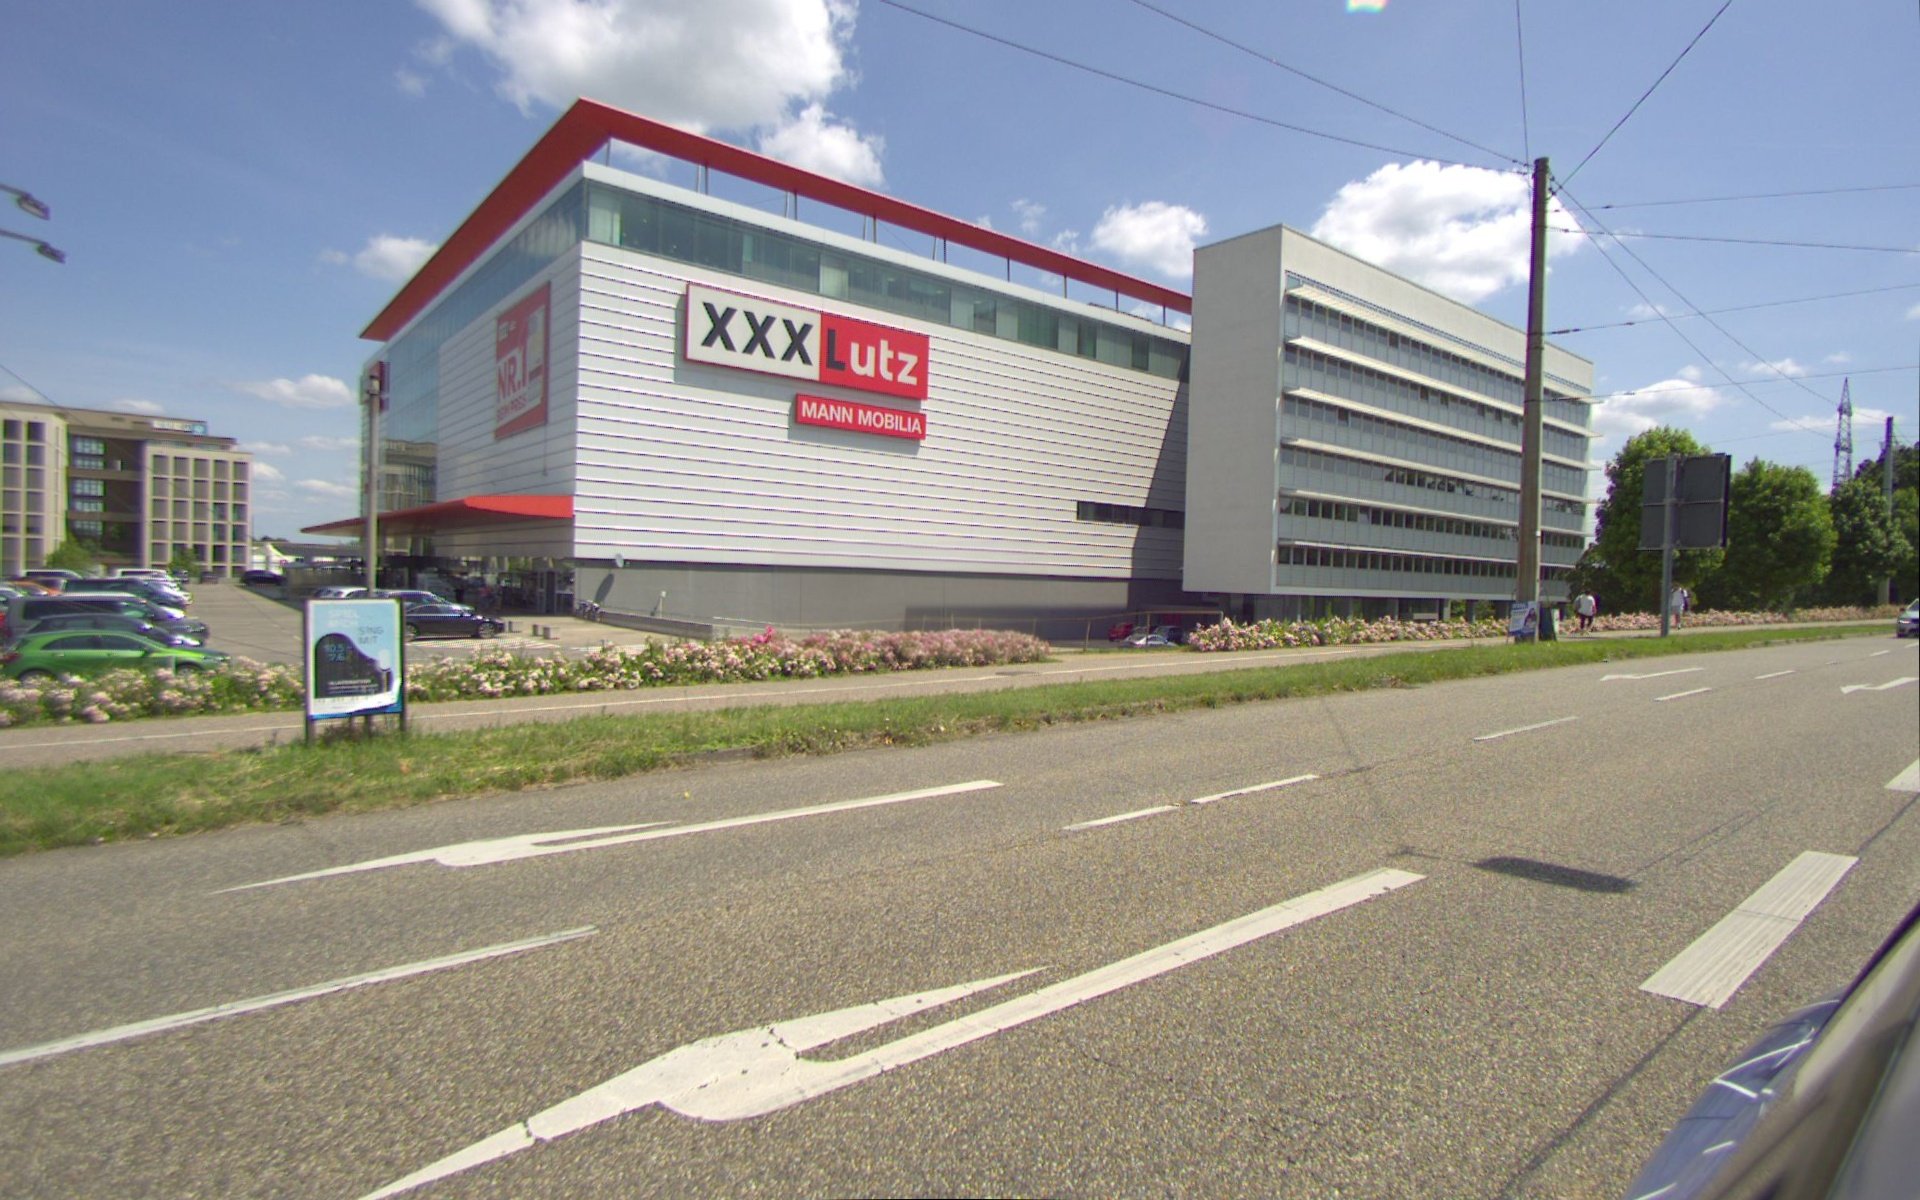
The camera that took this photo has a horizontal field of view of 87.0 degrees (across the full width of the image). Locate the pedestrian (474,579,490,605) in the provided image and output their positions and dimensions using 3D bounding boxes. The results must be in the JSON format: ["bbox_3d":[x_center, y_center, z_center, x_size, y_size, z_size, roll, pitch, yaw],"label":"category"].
[{"bbox_3d":[-30.059,-0.509,63.651,0.723,1.577,0.741,0,0,-42],"label":"pedestrian"}]

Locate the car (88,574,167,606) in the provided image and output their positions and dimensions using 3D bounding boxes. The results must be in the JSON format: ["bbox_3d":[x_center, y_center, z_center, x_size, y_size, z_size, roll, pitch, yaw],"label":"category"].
[{"bbox_3d":[-54.805,-0.672,66.659,3.930,2.039,1.997,-1,1,-41],"label":"car"}]

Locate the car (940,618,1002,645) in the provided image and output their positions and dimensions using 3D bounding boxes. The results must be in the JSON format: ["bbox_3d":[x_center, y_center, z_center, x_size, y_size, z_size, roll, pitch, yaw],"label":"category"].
[{"bbox_3d":[0.785,2.102,68.857,3.930,1.632,1.997,-1,1,-41],"label":"car"}]

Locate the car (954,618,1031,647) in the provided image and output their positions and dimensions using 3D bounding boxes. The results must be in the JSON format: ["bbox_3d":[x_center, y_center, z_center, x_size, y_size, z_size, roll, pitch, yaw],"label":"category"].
[{"bbox_3d":[2.172,2.089,66.331,5.057,1.632,1.997,-1,1,-41],"label":"car"}]

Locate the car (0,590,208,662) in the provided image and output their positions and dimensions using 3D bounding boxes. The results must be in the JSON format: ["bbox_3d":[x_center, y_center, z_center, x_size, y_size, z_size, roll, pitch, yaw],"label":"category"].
[{"bbox_3d":[-26.448,0.710,30.946,5.437,2.039,1.997,-1,0,-41],"label":"car"}]

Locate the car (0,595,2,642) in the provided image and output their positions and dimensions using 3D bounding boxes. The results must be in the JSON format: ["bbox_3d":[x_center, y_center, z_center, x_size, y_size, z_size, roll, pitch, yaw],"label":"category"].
[{"bbox_3d":[-35.305,0.691,33.638,4.913,1.630,1.997,-1,2,-41],"label":"car"}]

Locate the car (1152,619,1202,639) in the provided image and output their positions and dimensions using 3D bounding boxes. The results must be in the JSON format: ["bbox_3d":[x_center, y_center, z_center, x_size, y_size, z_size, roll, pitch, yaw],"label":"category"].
[{"bbox_3d":[16.103,2.150,74.984,3.930,1.338,1.607,-1,1,-41],"label":"car"}]

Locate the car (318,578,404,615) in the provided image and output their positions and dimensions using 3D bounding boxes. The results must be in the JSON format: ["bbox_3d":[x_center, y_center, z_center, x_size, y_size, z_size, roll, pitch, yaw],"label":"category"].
[{"bbox_3d":[-33.941,-0.233,57.378,3.930,2.039,1.997,-1,1,-41],"label":"car"}]

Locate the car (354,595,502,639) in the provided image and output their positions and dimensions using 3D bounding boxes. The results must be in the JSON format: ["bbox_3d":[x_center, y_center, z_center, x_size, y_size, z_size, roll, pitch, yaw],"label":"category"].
[{"bbox_3d":[-21.094,0.621,40.258,4.913,1.631,1.997,-1,1,-41],"label":"car"}]

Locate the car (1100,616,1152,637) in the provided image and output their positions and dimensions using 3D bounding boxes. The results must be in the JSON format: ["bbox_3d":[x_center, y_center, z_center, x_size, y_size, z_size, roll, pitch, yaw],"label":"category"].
[{"bbox_3d":[12.984,2.030,78.917,3.930,1.465,1.997,-1,1,-41],"label":"car"}]

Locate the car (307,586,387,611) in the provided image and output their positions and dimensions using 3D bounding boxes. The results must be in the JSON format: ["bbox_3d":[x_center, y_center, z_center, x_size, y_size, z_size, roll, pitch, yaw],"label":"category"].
[{"bbox_3d":[-37.601,-0.118,62.074,3.930,1.505,1.997,0,1,-41],"label":"car"}]

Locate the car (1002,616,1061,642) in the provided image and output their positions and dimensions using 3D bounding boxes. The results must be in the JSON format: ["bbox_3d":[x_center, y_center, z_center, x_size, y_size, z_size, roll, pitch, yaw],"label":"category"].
[{"bbox_3d":[5.047,2.031,71.445,3.930,1.632,1.997,-1,1,-41],"label":"car"}]

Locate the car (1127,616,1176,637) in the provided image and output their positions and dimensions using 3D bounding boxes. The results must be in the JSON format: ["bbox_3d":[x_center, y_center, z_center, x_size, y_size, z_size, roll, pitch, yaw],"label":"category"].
[{"bbox_3d":[14.577,1.982,76.885,3.930,1.403,1.646,-1,1,-41],"label":"car"}]

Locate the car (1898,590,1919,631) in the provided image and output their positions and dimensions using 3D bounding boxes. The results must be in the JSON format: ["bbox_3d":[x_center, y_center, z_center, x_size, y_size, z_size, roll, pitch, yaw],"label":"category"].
[{"bbox_3d":[34.029,0.335,34.977,3.929,1.355,1.895,-1,1,-40],"label":"car"}]

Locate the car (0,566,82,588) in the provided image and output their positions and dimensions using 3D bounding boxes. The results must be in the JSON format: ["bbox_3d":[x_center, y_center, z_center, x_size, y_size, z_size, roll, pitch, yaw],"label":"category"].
[{"bbox_3d":[-72.271,-1.784,79.486,4.913,1.631,1.997,-1,1,-41],"label":"car"}]

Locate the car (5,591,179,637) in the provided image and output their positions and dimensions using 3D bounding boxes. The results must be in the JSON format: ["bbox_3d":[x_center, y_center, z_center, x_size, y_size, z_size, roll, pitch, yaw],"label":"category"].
[{"bbox_3d":[-32.913,0.484,38.557,4.913,1.631,1.997,-1,1,-41],"label":"car"}]

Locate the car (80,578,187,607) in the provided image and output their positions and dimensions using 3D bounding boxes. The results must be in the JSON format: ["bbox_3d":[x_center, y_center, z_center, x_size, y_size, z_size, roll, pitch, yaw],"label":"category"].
[{"bbox_3d":[-49.346,-0.455,60.514,4.913,1.631,1.997,-1,1,-41],"label":"car"}]

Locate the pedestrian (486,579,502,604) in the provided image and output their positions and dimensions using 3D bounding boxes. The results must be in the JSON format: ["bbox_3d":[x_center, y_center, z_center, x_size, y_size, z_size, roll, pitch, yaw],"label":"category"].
[{"bbox_3d":[-29.179,-0.519,63.309,0.723,1.577,0.741,0,0,-42],"label":"pedestrian"}]

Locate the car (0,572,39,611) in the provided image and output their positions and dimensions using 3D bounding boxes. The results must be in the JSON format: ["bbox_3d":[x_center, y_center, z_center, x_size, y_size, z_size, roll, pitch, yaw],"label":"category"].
[{"bbox_3d":[-51.119,-0.452,53.200,3.930,2.039,1.997,-1,1,-41],"label":"car"}]

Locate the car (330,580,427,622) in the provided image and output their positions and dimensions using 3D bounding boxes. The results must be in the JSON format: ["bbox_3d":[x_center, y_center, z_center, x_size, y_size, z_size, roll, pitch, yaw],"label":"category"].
[{"bbox_3d":[-29.171,0.015,50.841,3.930,2.039,1.997,-1,1,-41],"label":"car"}]

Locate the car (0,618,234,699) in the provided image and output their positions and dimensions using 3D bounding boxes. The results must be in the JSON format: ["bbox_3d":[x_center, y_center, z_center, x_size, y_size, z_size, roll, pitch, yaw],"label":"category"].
[{"bbox_3d":[-19.974,1.319,24.105,4.227,1.514,1.998,-1,4,-41],"label":"car"}]

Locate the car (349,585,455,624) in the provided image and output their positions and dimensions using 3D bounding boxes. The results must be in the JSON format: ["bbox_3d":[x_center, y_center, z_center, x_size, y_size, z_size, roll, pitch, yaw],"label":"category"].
[{"bbox_3d":[-27.161,0.208,49.329,4.257,1.804,1.997,-1,-1,-41],"label":"car"}]

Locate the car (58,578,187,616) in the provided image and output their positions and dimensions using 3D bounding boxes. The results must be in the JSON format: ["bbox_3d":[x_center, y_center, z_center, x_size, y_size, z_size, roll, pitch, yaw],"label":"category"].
[{"bbox_3d":[-43.337,-0.188,52.450,5.094,1.888,1.996,-1,1,-43],"label":"car"}]

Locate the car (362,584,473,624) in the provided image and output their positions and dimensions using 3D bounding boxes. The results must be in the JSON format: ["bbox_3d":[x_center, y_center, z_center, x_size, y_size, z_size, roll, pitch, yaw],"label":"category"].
[{"bbox_3d":[-25.196,0.177,47.091,4.257,1.804,1.997,-1,-1,-41],"label":"car"}]

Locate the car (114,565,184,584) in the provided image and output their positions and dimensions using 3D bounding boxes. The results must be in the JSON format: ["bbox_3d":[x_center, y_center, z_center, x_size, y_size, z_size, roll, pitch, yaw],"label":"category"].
[{"bbox_3d":[-73.375,-2.295,91.639,4.913,1.631,1.997,-1,1,-41],"label":"car"}]

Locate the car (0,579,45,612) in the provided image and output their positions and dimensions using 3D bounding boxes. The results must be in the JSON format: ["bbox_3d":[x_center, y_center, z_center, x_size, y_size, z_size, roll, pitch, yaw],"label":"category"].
[{"bbox_3d":[-49.658,-0.232,51.187,4.913,1.631,1.997,-1,1,-41],"label":"car"}]

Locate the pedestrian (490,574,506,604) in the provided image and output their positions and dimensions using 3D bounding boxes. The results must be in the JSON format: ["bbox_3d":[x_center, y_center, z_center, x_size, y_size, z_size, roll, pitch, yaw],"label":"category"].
[{"bbox_3d":[-29.384,-0.700,64.390,0.723,1.892,0.741,0,0,-42],"label":"pedestrian"}]

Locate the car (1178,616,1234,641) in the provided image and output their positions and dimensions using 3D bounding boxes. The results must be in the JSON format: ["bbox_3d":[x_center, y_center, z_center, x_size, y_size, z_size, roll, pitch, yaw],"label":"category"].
[{"bbox_3d":[17.801,2.006,73.135,3.930,1.632,1.997,-1,1,-41],"label":"car"}]

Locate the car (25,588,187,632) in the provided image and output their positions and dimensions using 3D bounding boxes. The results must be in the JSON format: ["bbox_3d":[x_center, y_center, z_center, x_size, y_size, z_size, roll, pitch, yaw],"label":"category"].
[{"bbox_3d":[-34.421,0.370,40.955,4.913,1.671,1.997,-1,1,-41],"label":"car"}]

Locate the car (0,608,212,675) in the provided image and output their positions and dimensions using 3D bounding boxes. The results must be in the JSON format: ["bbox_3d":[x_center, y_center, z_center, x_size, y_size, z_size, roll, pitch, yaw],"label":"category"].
[{"bbox_3d":[-23.303,1.063,27.300,4.913,1.570,1.997,-1,1,-41],"label":"car"}]

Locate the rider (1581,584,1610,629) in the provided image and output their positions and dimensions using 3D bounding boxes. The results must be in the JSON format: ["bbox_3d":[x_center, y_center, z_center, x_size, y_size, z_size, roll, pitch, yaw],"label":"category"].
[{"bbox_3d":[20.949,0.212,33.382,0.607,1.476,0.670,0,0,-41],"label":"rider"}]

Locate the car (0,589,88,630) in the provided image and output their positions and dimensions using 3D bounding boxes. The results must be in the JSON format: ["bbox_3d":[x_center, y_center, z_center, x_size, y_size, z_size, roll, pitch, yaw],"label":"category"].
[{"bbox_3d":[-38.709,0.386,41.150,4.915,1.631,1.996,-1,1,-42],"label":"car"}]

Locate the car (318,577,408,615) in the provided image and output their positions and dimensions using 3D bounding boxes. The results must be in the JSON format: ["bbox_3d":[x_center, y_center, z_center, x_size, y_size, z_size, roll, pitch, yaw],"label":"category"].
[{"bbox_3d":[-32.508,-0.235,55.149,3.930,2.039,1.997,-1,0,-41],"label":"car"}]

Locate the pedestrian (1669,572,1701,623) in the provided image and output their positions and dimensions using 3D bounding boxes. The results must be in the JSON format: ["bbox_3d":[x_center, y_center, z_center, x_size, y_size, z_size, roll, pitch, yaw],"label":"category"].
[{"bbox_3d":[27.448,-0.099,38.294,0.914,1.872,0.758,0,0,-38],"label":"pedestrian"}]
